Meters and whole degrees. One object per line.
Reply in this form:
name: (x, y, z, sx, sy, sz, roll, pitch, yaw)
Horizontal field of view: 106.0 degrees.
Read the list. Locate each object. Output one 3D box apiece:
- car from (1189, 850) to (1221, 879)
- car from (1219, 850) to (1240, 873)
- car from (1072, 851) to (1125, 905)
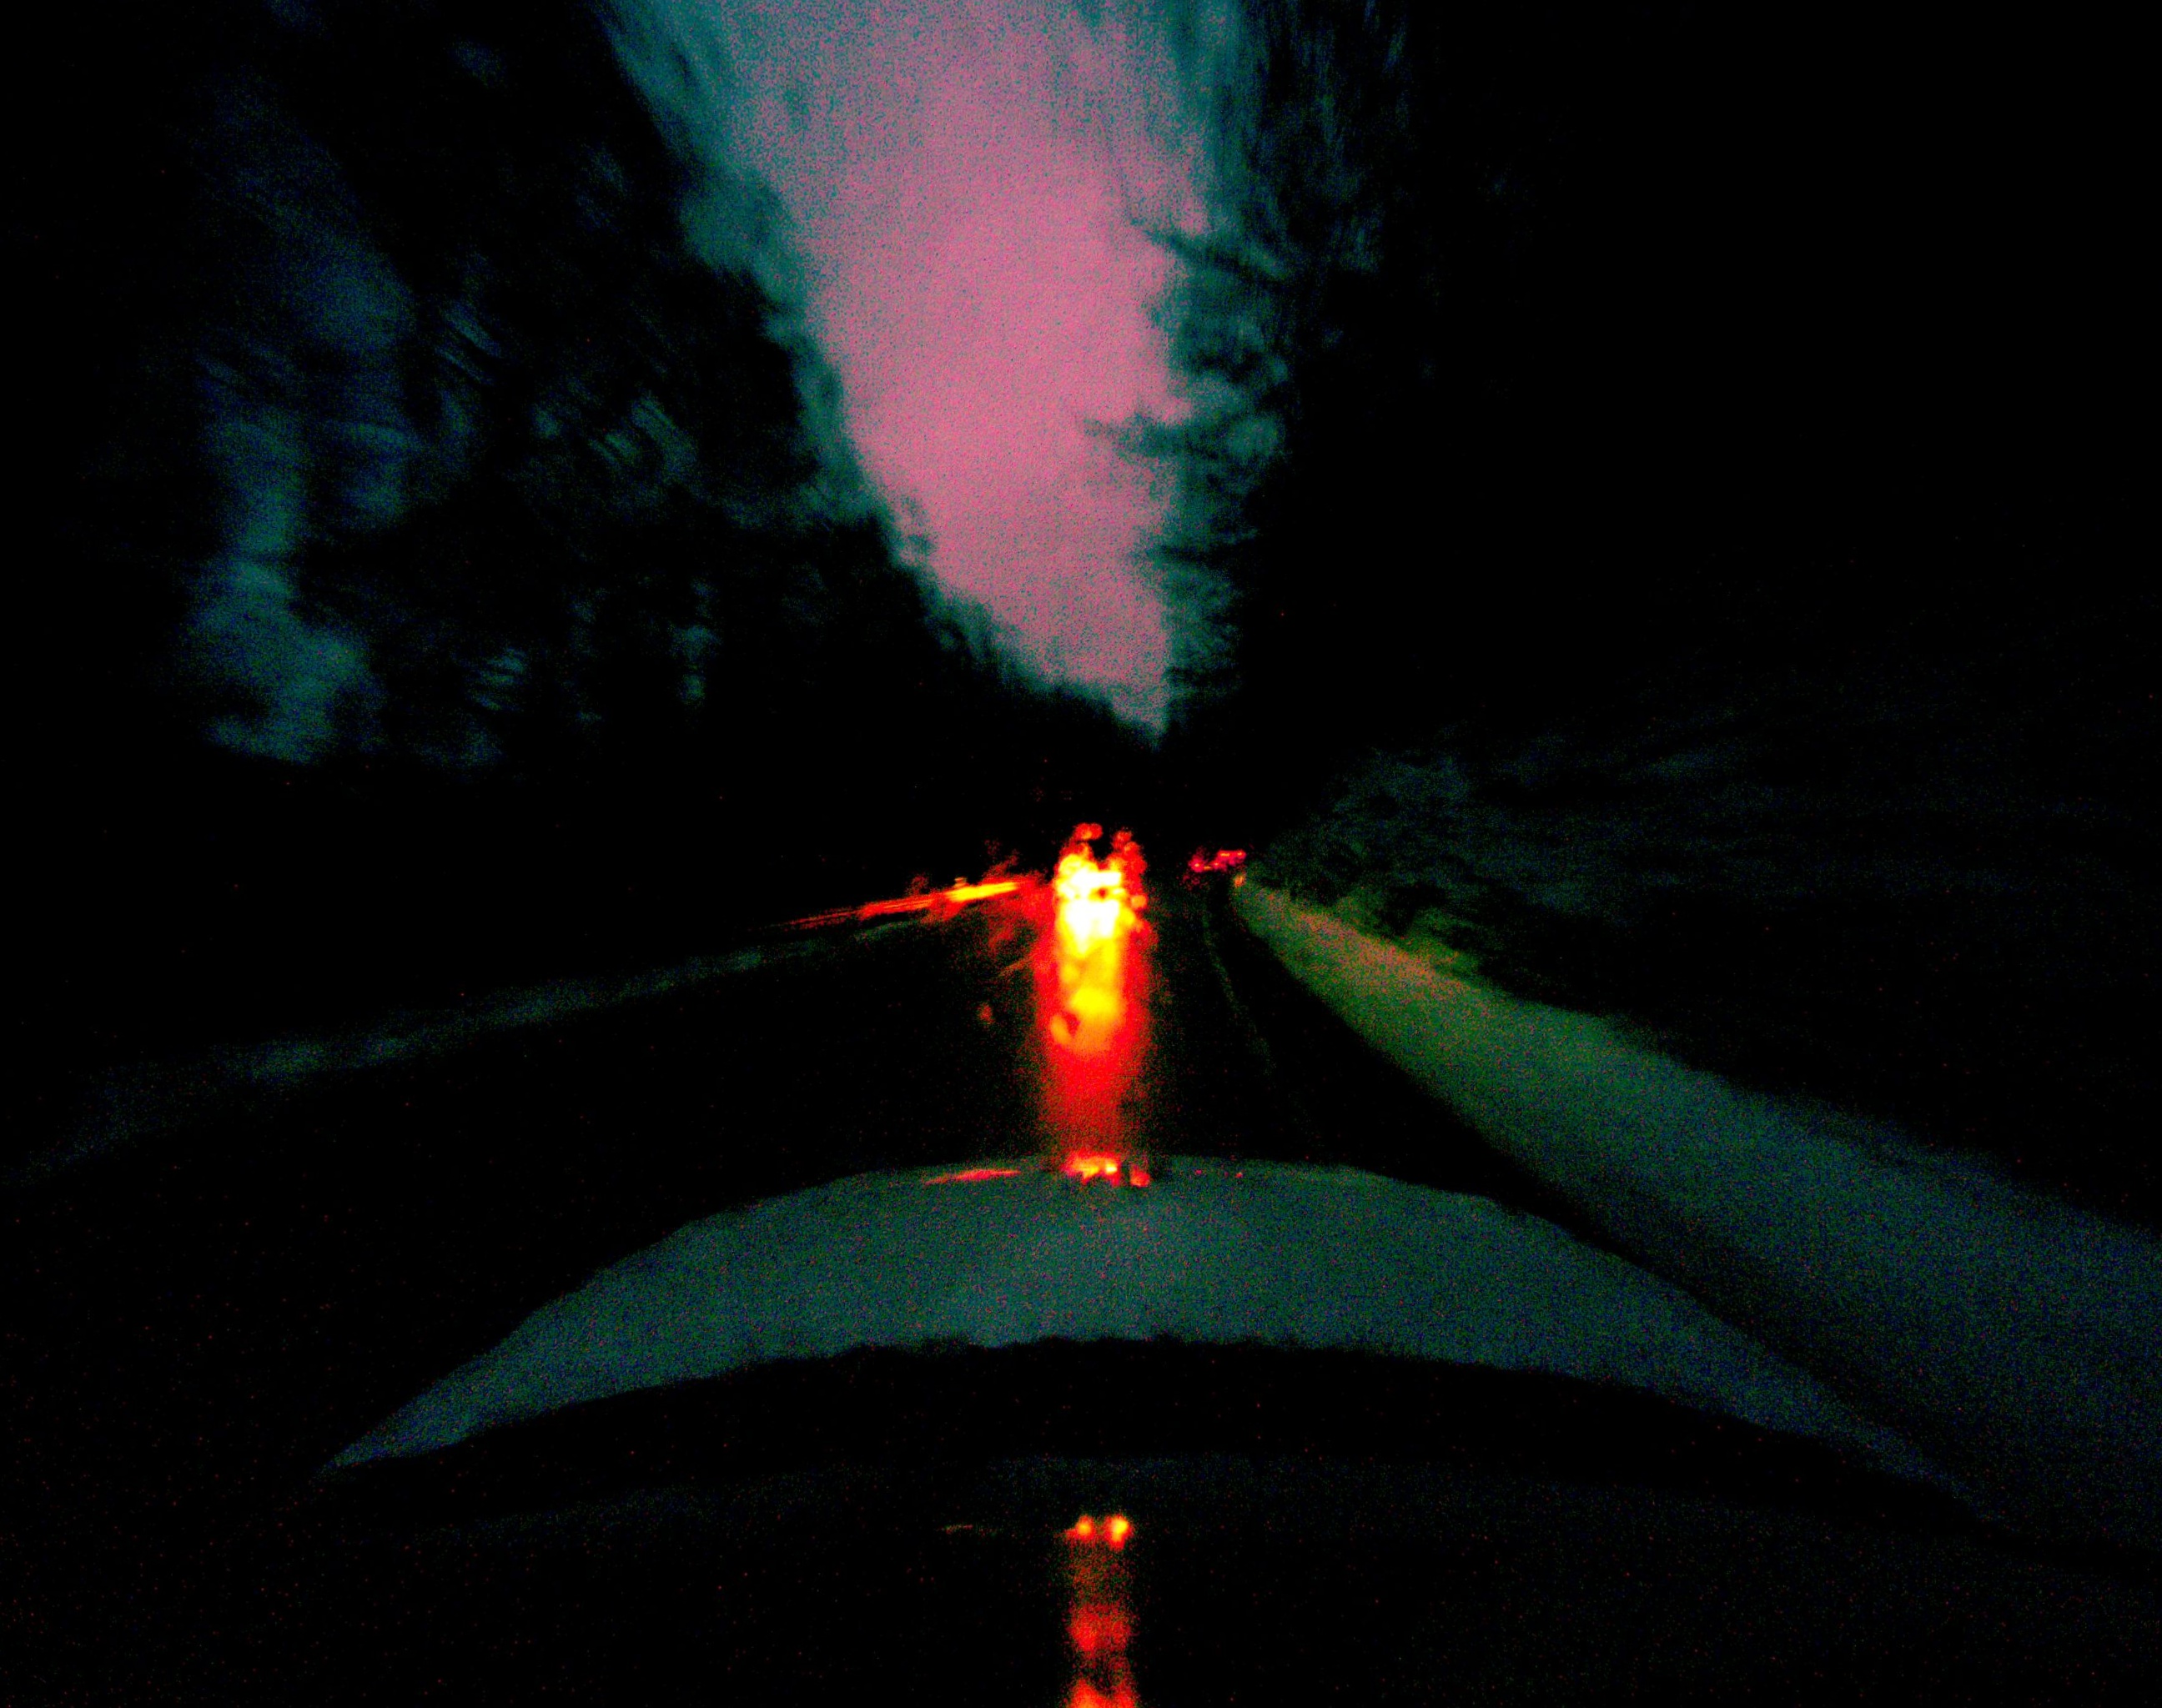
car: (8.195, 0.726, 53.723, 1.982, 1.873, 4.010, -1, -2, 9)
car: (14.175, 0.750, 77.708, 1.855, 1.919, 4.012, 1, -3, 12)
car: (0.786, 1.044, 33.478, 1.984, 2.014, 4.003, 0, -4, 4)
